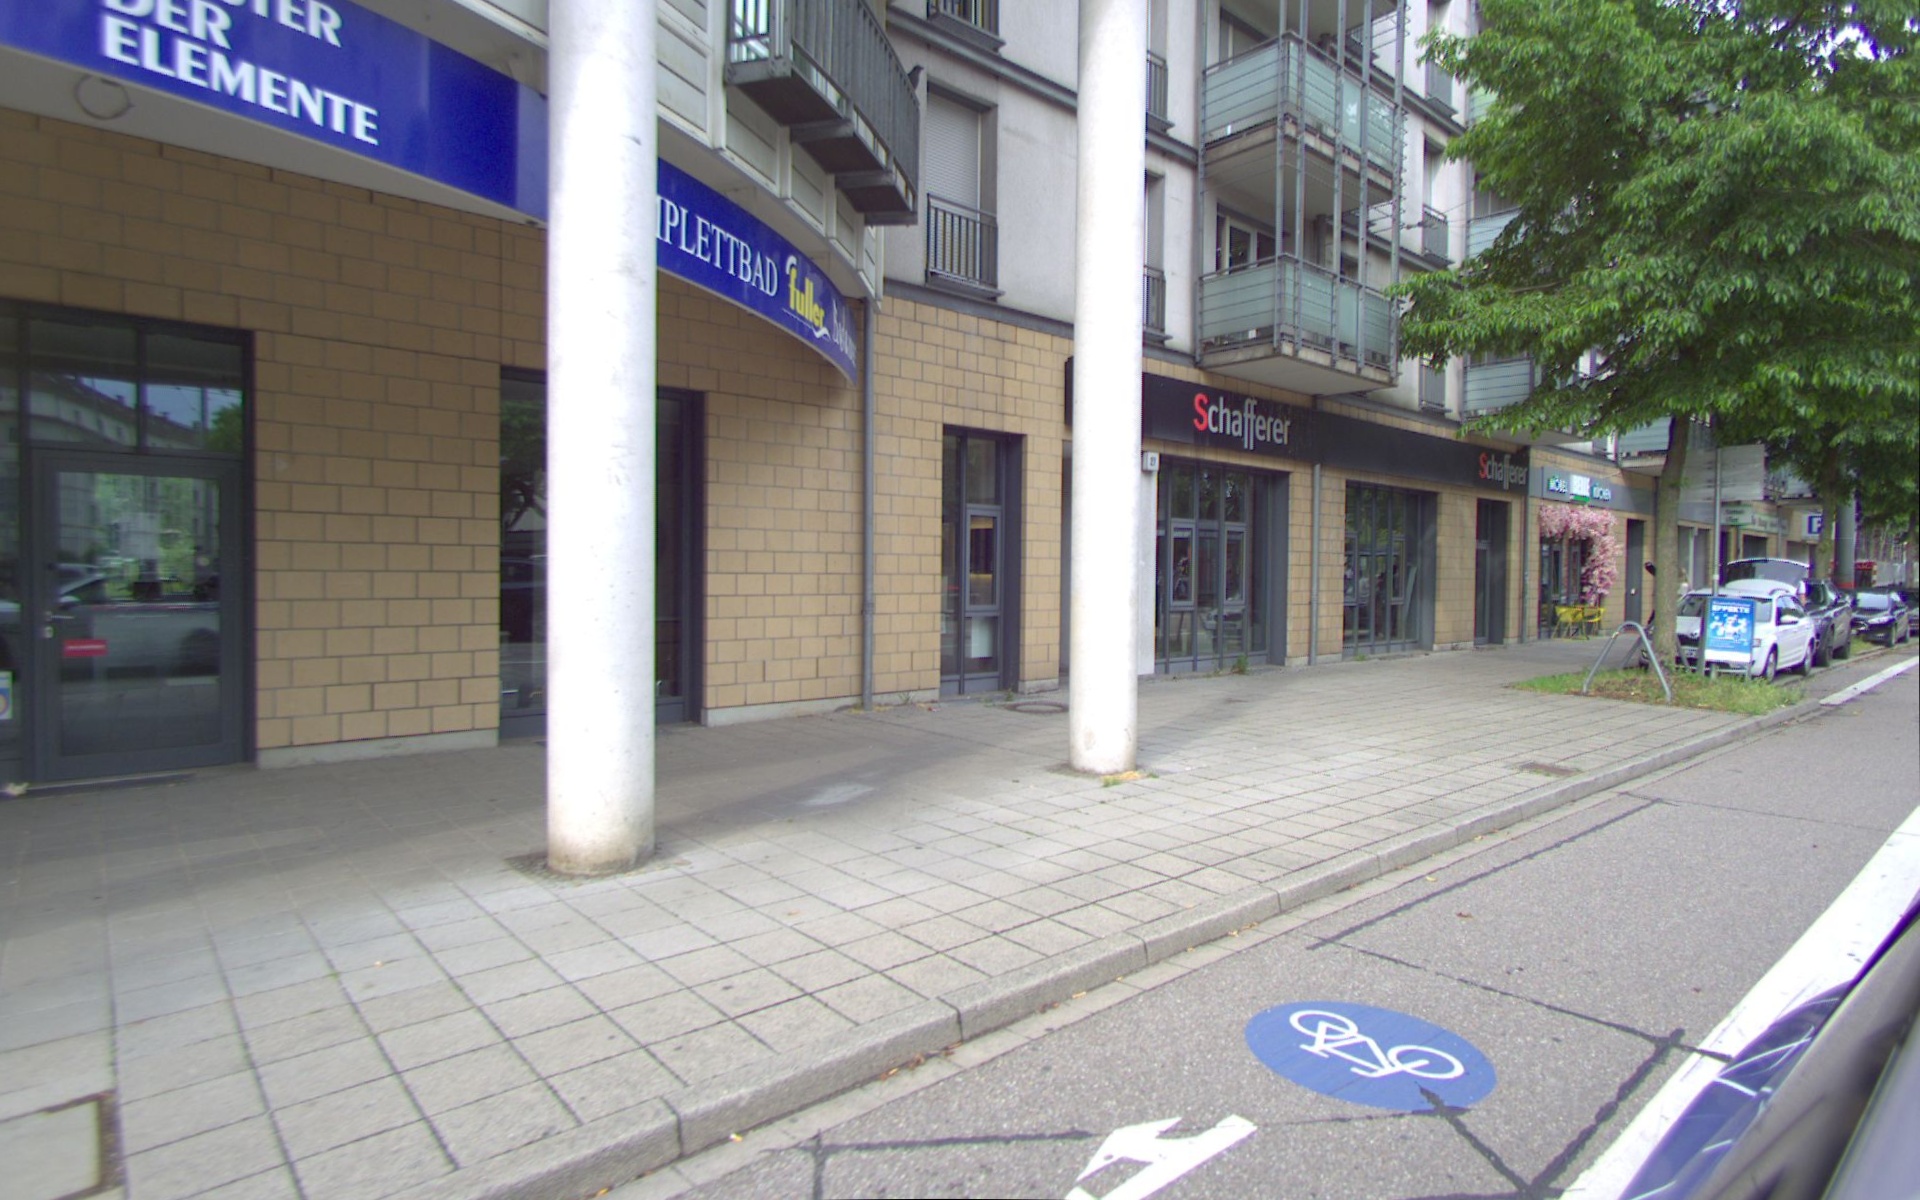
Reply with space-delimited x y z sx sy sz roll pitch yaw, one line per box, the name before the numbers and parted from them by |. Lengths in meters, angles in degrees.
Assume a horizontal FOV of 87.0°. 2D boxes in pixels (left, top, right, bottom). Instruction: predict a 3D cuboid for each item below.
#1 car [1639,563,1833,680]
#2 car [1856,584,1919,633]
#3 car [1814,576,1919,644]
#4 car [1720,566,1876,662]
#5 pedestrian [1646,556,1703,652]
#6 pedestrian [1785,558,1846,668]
car | 13.121 0.277 17.035 4.031 1.682 1.730 -1 4 -41
car | 29.296 0.232 31.369 3.748 1.400 1.730 -1 3 -41
car | 23.745 0.203 26.313 3.874 1.563 1.684 -1 3 -41
car | 16.845 0.211 20.289 3.874 1.682 1.730 -1 3 -41
pedestrian | 13.957 0.071 19.779 0.825 1.828 0.744 0 0 -41
pedestrian | 15.594 0.234 18.449 0.630 1.958 0.655 0 0 -25
